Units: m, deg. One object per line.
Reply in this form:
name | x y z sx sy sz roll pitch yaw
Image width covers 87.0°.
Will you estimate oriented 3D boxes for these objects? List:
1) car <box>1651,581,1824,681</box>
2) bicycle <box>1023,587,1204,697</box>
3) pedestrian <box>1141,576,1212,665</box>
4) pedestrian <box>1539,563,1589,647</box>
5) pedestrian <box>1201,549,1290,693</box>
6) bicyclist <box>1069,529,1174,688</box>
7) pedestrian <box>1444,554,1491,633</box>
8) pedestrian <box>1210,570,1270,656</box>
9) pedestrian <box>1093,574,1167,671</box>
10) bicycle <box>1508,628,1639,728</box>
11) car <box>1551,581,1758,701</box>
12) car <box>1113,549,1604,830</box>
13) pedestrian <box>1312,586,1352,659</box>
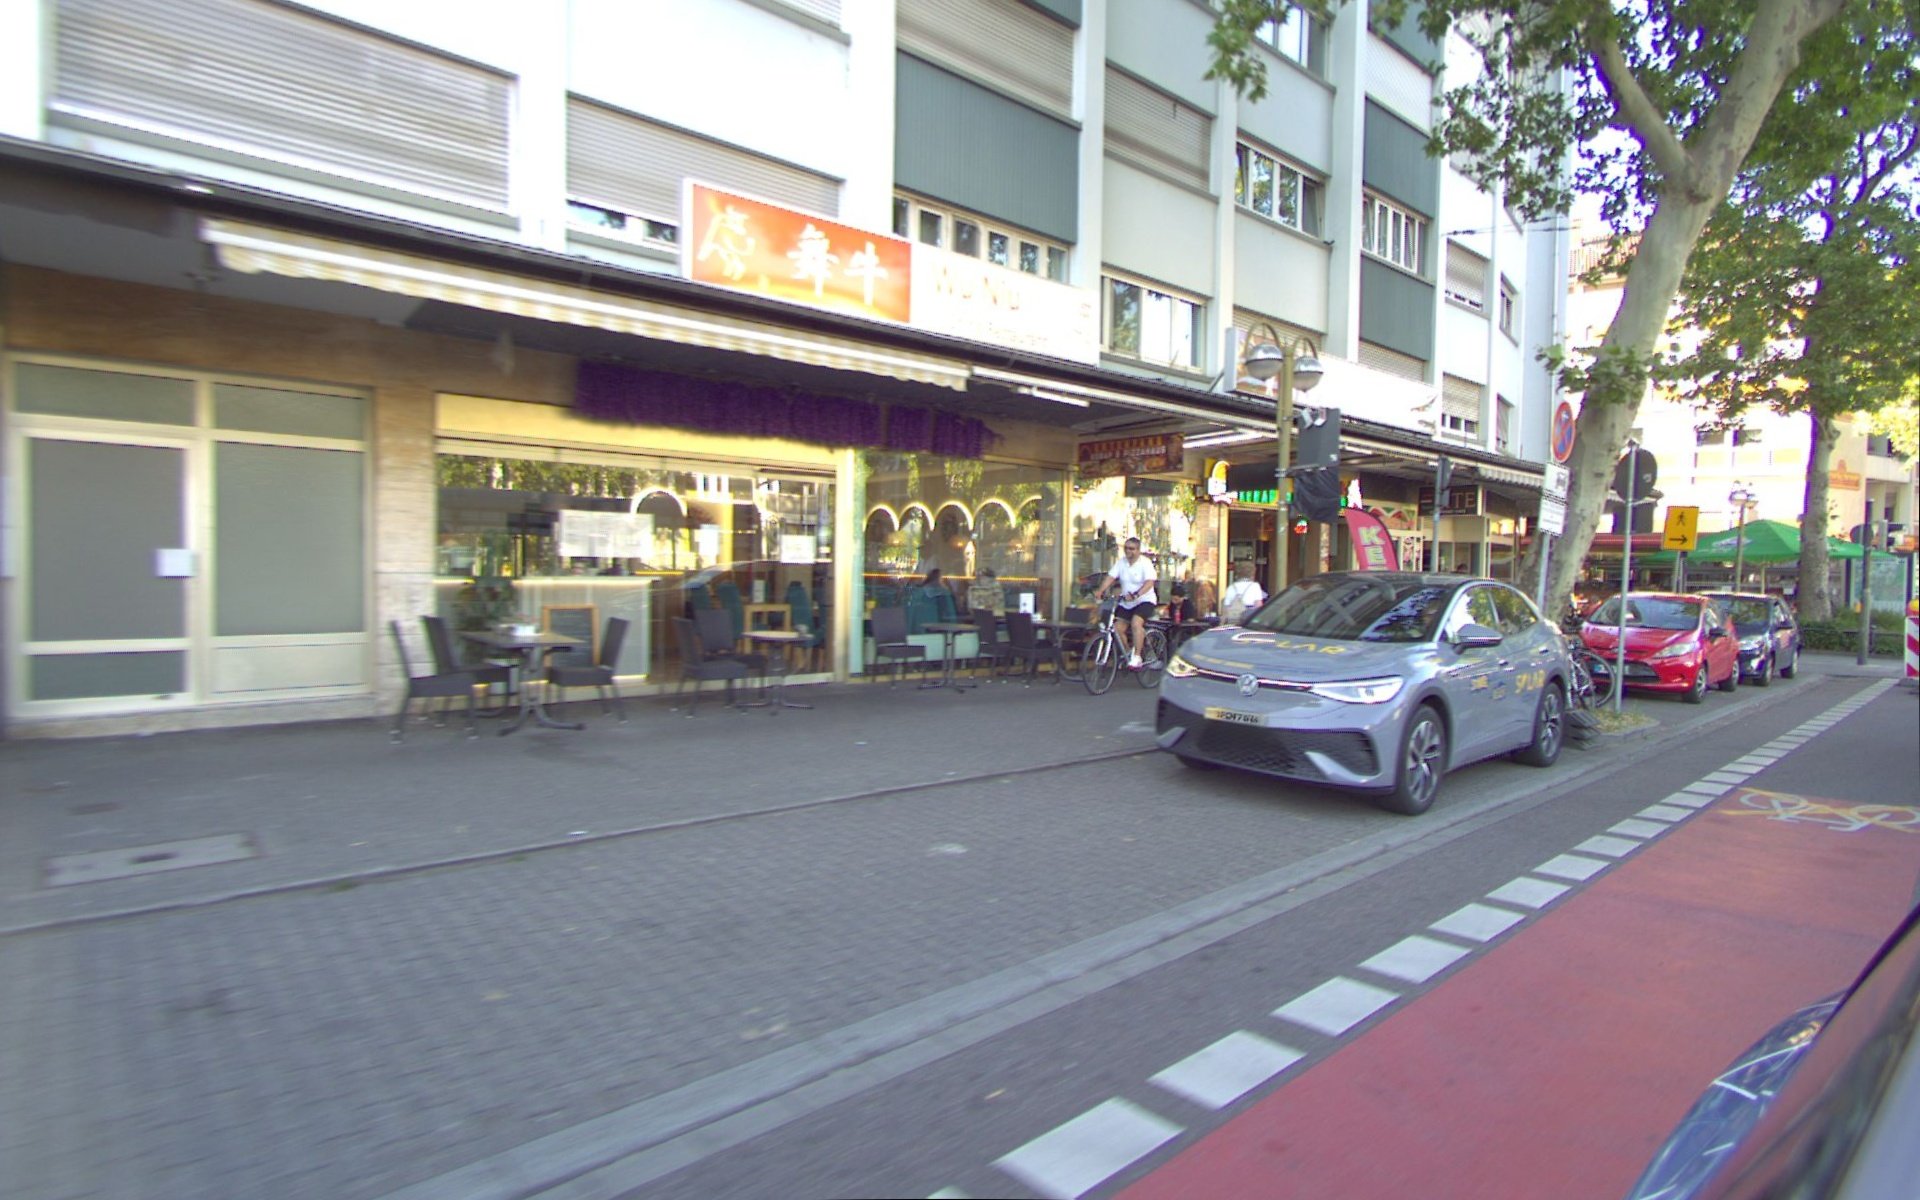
car | 13.606 0.457 17.641 3.735 1.497 1.658 0 3 -41
bicycle | 1.808 0.431 11.651 2.228 1.117 0.778 0 4 -42
pedestrian | 3.073 0.273 14.361 0.698 1.191 0.677 0 2 -41
pedestrian | 11.776 0.085 19.737 0.630 1.579 0.584 0 3 -39
pedestrian | 3.351 0.221 11.891 0.666 1.605 0.709 0 3 -42
bicyclist | 1.865 0.074 11.673 0.815 1.729 0.771 0 4 -41
pedestrian | 11.274 -0.157 22.492 0.666 1.730 0.709 0 1 -42
pedestrian | 4.344 0.190 15.711 0.596 1.281 0.646 0 2 -41
pedestrian | 2.294 0.282 13.648 0.698 1.243 0.677 0 2 -43
bicycle | 6.743 0.812 11.080 2.004 0.895 0.625 0 4 -42
car | 10.315 0.503 14.919 3.918 1.460 1.732 -1 3 -44
car | 3.474 0.474 8.250 4.712 1.617 1.920 -1 3 -44
pedestrian | 6.049 0.355 16.443 0.514 1.148 0.504 2 2 27
